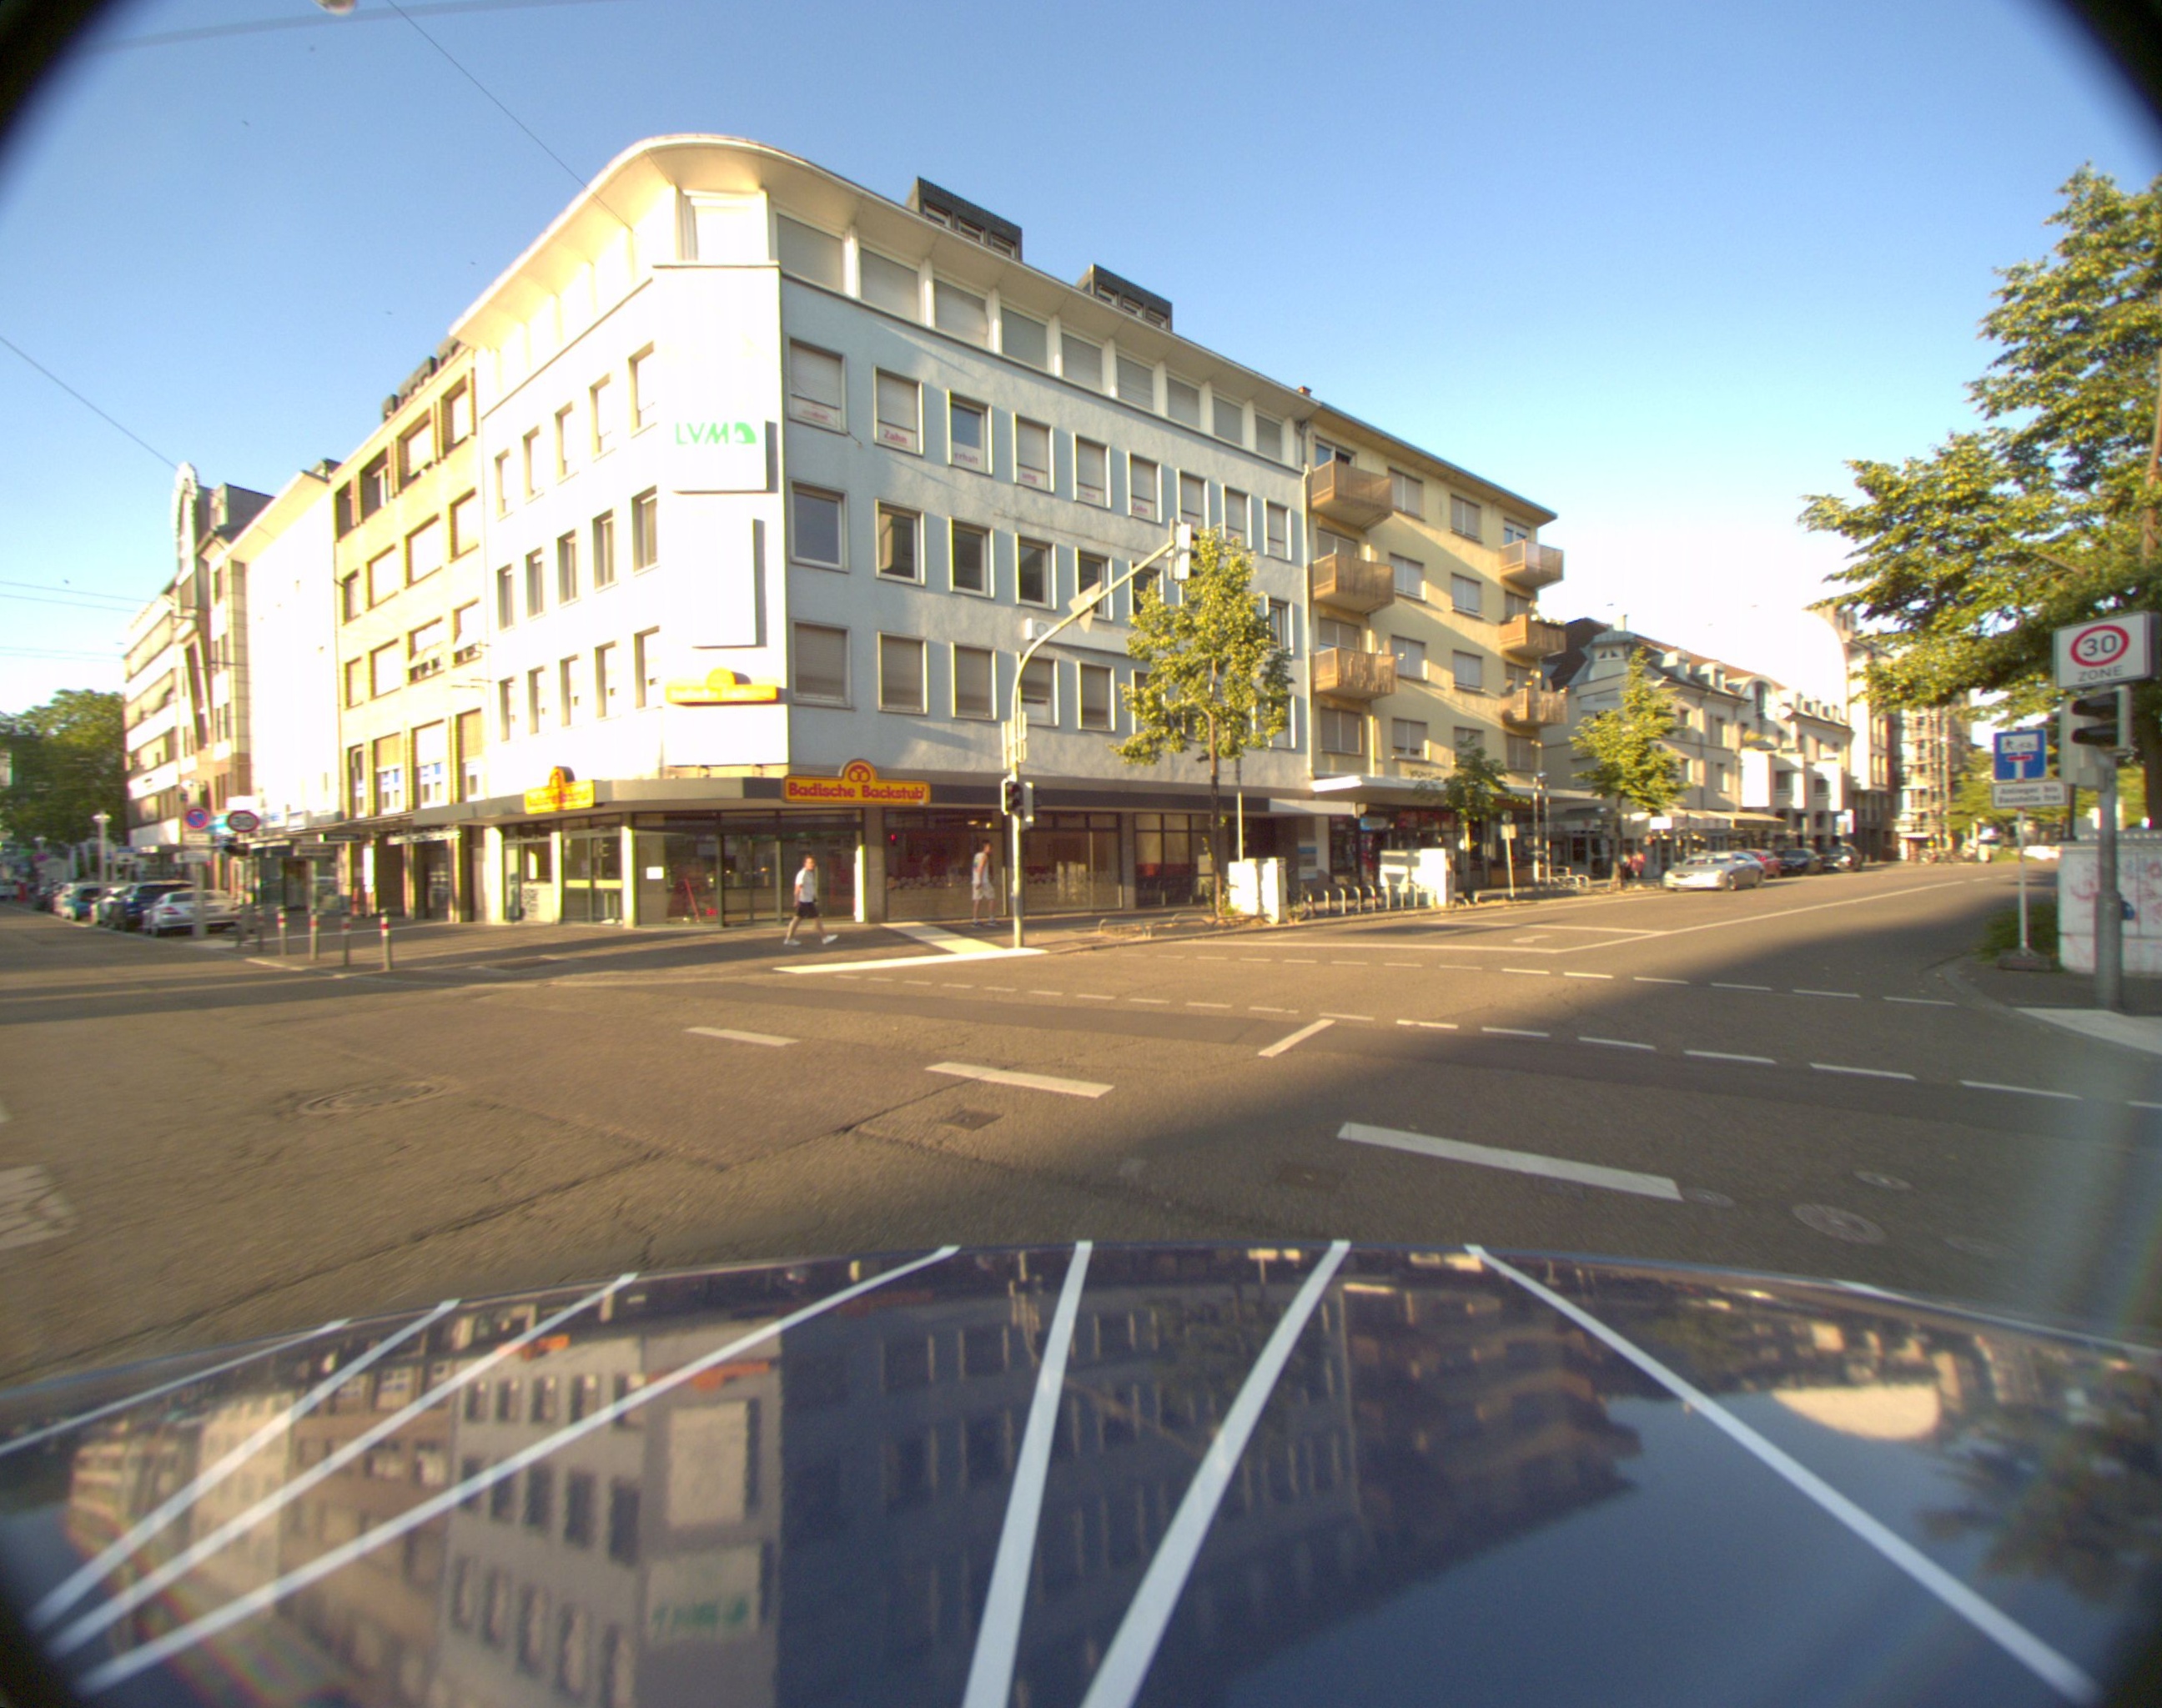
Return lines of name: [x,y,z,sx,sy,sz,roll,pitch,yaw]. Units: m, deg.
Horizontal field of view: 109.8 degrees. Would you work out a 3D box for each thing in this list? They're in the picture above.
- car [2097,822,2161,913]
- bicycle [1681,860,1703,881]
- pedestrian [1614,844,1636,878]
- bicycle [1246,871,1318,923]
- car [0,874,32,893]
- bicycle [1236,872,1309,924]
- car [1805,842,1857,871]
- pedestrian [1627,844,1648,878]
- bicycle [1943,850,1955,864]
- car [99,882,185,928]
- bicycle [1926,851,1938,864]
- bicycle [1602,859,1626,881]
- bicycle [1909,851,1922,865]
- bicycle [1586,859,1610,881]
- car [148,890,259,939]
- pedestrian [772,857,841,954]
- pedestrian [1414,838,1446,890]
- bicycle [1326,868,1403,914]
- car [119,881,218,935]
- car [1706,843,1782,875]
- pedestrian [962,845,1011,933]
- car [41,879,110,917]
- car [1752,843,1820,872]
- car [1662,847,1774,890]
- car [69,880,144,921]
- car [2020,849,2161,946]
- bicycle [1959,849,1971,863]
car: [23.016,0.239,15.992,4.156,1.777,1.916,-1,0,-36]
bicycle: [28.770,0.774,35.754,1.618,0.950,0.391,-1,0,-36]
pedestrian: [25.257,0.330,35.285,0.652,1.521,0.540,-1,0,-28]
bicycle: [4.958,1.037,18.892,0.471,1.196,1.914,-1,0,-31]
car: [-96.908,2.696,69.018,3.989,1.625,1.853,-2,0,36]
bicycle: [4.623,1.033,18.498,0.471,1.196,1.914,-1,0,-31]
car: [42.299,0.119,42.862,2.808,1.540,1.569,-1,1,-34]
pedestrian: [25.326,0.308,34.590,0.555,1.521,0.540,-1,0,-28]
bicycle: [62.846,0.198,55.001,1.922,0.952,0.469,-1,0,-38]
car: [-36.585,1.926,29.589,3.989,1.625,1.853,-2,0,36]
bicycle: [62.273,0.242,55.579,1.922,0.952,0.469,-1,0,-38]
bicycle: [26.010,0.773,37.081,1.848,1.044,0.391,-1,0,-36]
bicycle: [61.584,0.286,56.053,1.922,0.952,0.469,-1,0,-38]
bicycle: [25.633,0.789,37.643,1.848,1.027,0.391,-1,0,-36]
car: [-27.164,1.807,23.497,3.989,1.287,1.853,-2,0,36]
pedestrian: [-5.125,0.943,14.253,0.993,1.716,0.806,-1,2,-5]
pedestrian: [12.452,0.360,27.136,0.651,1.796,0.708,-1,-2,-33]
bicycle: [7.688,0.988,20.673,0.471,1.196,1.913,-1,0,-44]
car: [-31.163,1.775,25.923,3.989,1.625,1.853,-2,0,36]
car: [31.243,0.225,35.797,4.039,1.413,1.724,-1,0,-34]
pedestrian: [-2.085,0.745,16.885,0.993,1.876,0.806,-1,2,-5]
car: [-47.697,2.042,36.037,3.989,1.625,1.853,-2,0,36]
car: [36.232,0.156,39.027,3.755,1.413,1.724,-1,0,-34]
car: [22.707,0.495,27.056,4.560,1.369,1.802,-1,-2,-34]
car: [-42.932,2.021,33.463,3.989,1.625,1.853,-2,0,36]
car: [17.406,0.636,12.599,4.389,1.378,1.916,-1,0,-34]
bicycle: [63.353,0.157,54.440,1.922,0.952,0.469,-1,0,-38]
